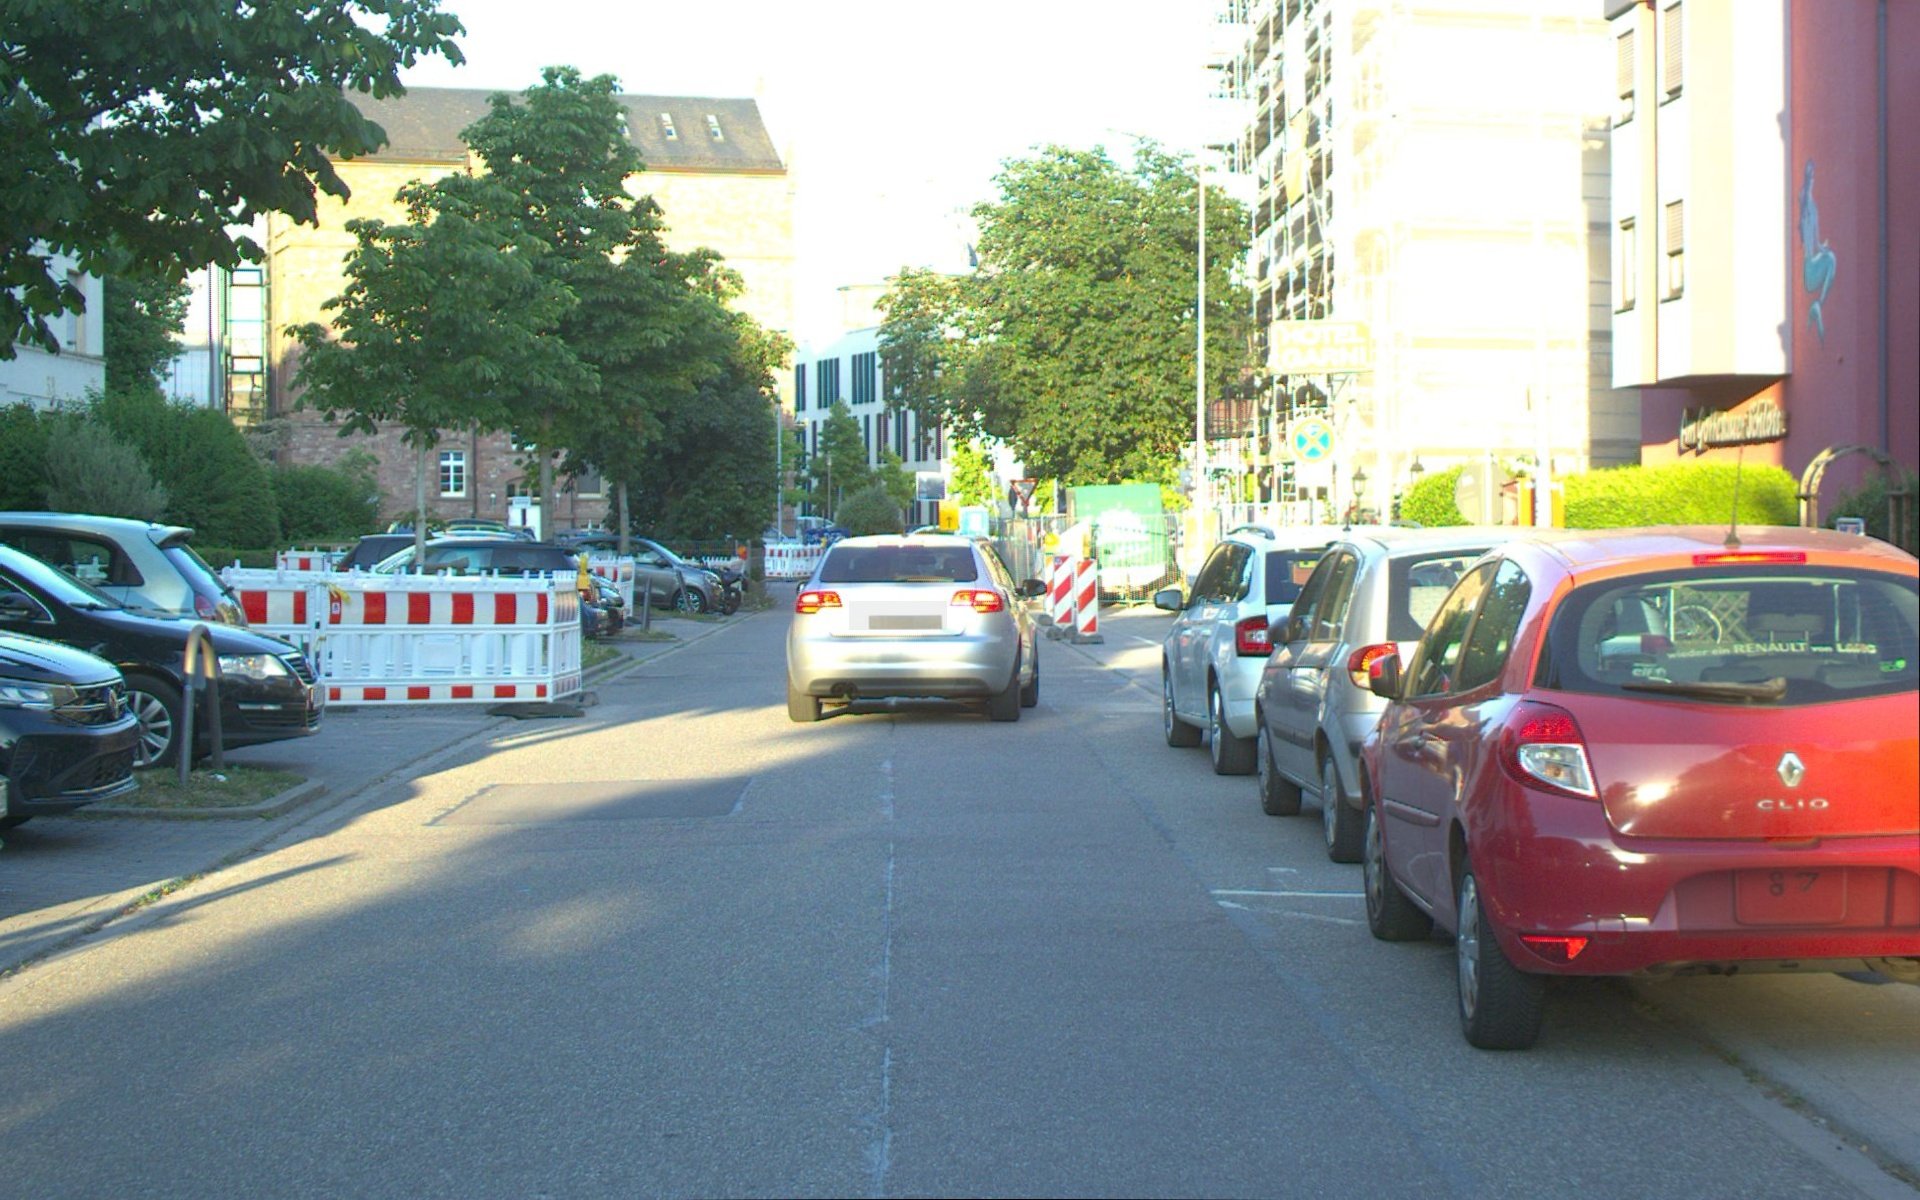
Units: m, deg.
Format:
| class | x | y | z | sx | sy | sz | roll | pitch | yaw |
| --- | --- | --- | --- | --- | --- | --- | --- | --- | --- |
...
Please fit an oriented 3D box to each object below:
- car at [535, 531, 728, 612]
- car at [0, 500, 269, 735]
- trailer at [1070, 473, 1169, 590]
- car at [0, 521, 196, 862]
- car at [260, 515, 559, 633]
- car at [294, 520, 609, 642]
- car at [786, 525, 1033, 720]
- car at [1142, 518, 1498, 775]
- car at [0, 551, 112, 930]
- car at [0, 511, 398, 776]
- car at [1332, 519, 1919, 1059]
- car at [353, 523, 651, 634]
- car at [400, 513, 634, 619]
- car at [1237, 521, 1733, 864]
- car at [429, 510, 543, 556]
| class | x | y | z | sx | sy | sz | roll | pitch | yaw |
| --- | --- | --- | --- | --- | --- | --- | --- | --- | --- |
| car | -6.368 | -0.564 | 66.933 | 3.623 | 1.551 | 1.693 | 0 | 1 | -1 |
| car | -6.686 | 0.067 | 23.079 | 3.700 | 1.479 | 1.728 | 1 | 1 | 1 |
| trailer | 3.522 | -1.546 | 76.527 | 1.993 | 2.531 | 4.186 | 0 | 2 | 0 |
| car | -5.791 | 0.345 | 16.022 | 4.032 | 1.479 | 1.728 | 1 | 1 | 1 |
| car | -7.313 | -0.345 | 45.873 | 3.677 | 1.479 | 1.728 | 1 | 0 | 1 |
| car | -6.380 | -0.240 | 43.380 | 3.677 | 1.440 | 1.728 | 1 | 0 | 1 |
| car | -0.374 | 0.118 | 26.804 | 1.775 | 1.392 | 4.108 | 0 | 1 | 0 |
| car | 2.166 | 0.219 | 21.648 | 1.614 | 1.464 | 3.997 | 0 | 1 | -3 |
| car | -5.451 | 0.470 | 13.437 | 3.842 | 1.380 | 1.607 | 1 | 1 | 1 |
| car | -5.827 | 0.206 | 20.853 | 4.507 | 1.479 | 1.728 | 1 | 1 | 1 |
| car | 2.297 | 0.470 | 11.232 | 1.740 | 1.464 | 3.759 | 0 | 1 | 0 |
| car | -6.488 | -0.305 | 48.962 | 3.977 | 1.484 | 1.728 | 1 | 0 | 1 |
| car | -6.838 | -0.519 | 53.307 | 3.474 | 1.561 | 1.728 | 1 | 0 | -4 |
| car | 2.404 | 0.353 | 16.669 | 1.797 | 1.464 | 3.844 | 0 | 1 | 0 |
| car | -16.131 | -2.291 | 117.026 | 3.630 | 1.498 | 1.638 | -1 | 2 | -17 |
